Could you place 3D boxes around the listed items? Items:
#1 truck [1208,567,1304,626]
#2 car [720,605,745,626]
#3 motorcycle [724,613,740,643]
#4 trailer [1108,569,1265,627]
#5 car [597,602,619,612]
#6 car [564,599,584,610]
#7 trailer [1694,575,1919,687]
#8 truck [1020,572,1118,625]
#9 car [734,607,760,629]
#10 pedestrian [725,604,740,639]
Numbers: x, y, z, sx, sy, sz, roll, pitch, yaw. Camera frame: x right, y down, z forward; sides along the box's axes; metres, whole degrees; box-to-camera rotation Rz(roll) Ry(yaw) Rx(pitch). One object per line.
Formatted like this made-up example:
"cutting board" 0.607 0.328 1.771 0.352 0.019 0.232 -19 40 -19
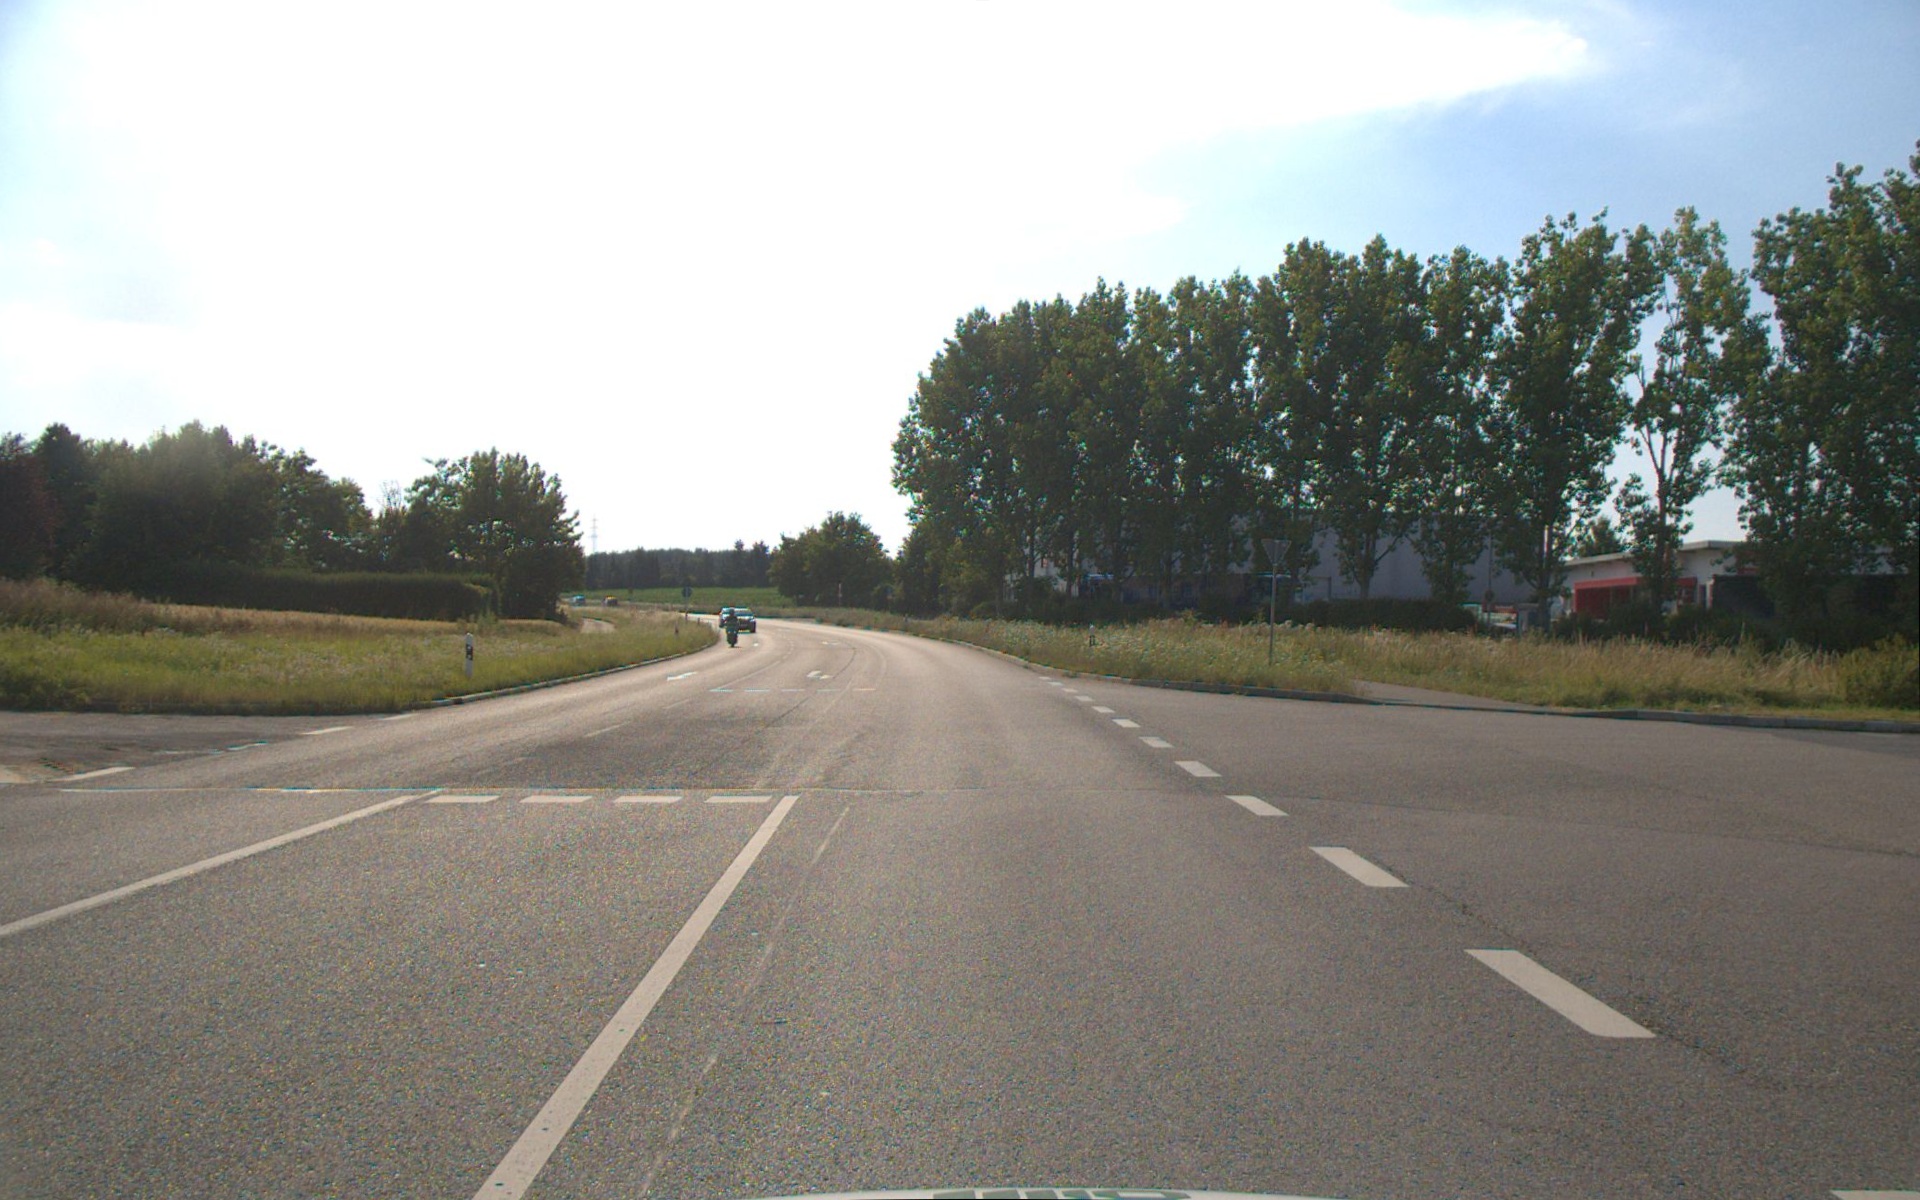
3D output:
"truck" 17.362 -0.149 97.317 2.590 3.217 5.657 4 -3 -28
"car" -16.939 1.124 123.162 1.654 1.372 3.625 4 0 -10
"motorcycle" -10.040 1.226 72.801 0.574 1.283 2.118 2 -1 -6
"trailer" 13.998 -0.012 103.989 2.652 3.196 13.150 4 -3 -27
"car" -45.743 0.870 215.008 1.944 1.171 3.834 4 -2 -26
"car" -53.980 0.570 231.326 1.828 1.432 3.613 4 -2 -26
"trailer" 34.008 1.150 62.071 2.215 3.984 13.614 4 -2 -25
"truck" 7.609 -0.099 117.330 2.480 3.435 9.607 4 -2 -25
"car" -13.817 1.151 107.473 1.652 1.372 3.994 0 0 -7
"pedestrian" -10.028 0.937 72.834 0.555 1.531 0.864 2 -1 -6
